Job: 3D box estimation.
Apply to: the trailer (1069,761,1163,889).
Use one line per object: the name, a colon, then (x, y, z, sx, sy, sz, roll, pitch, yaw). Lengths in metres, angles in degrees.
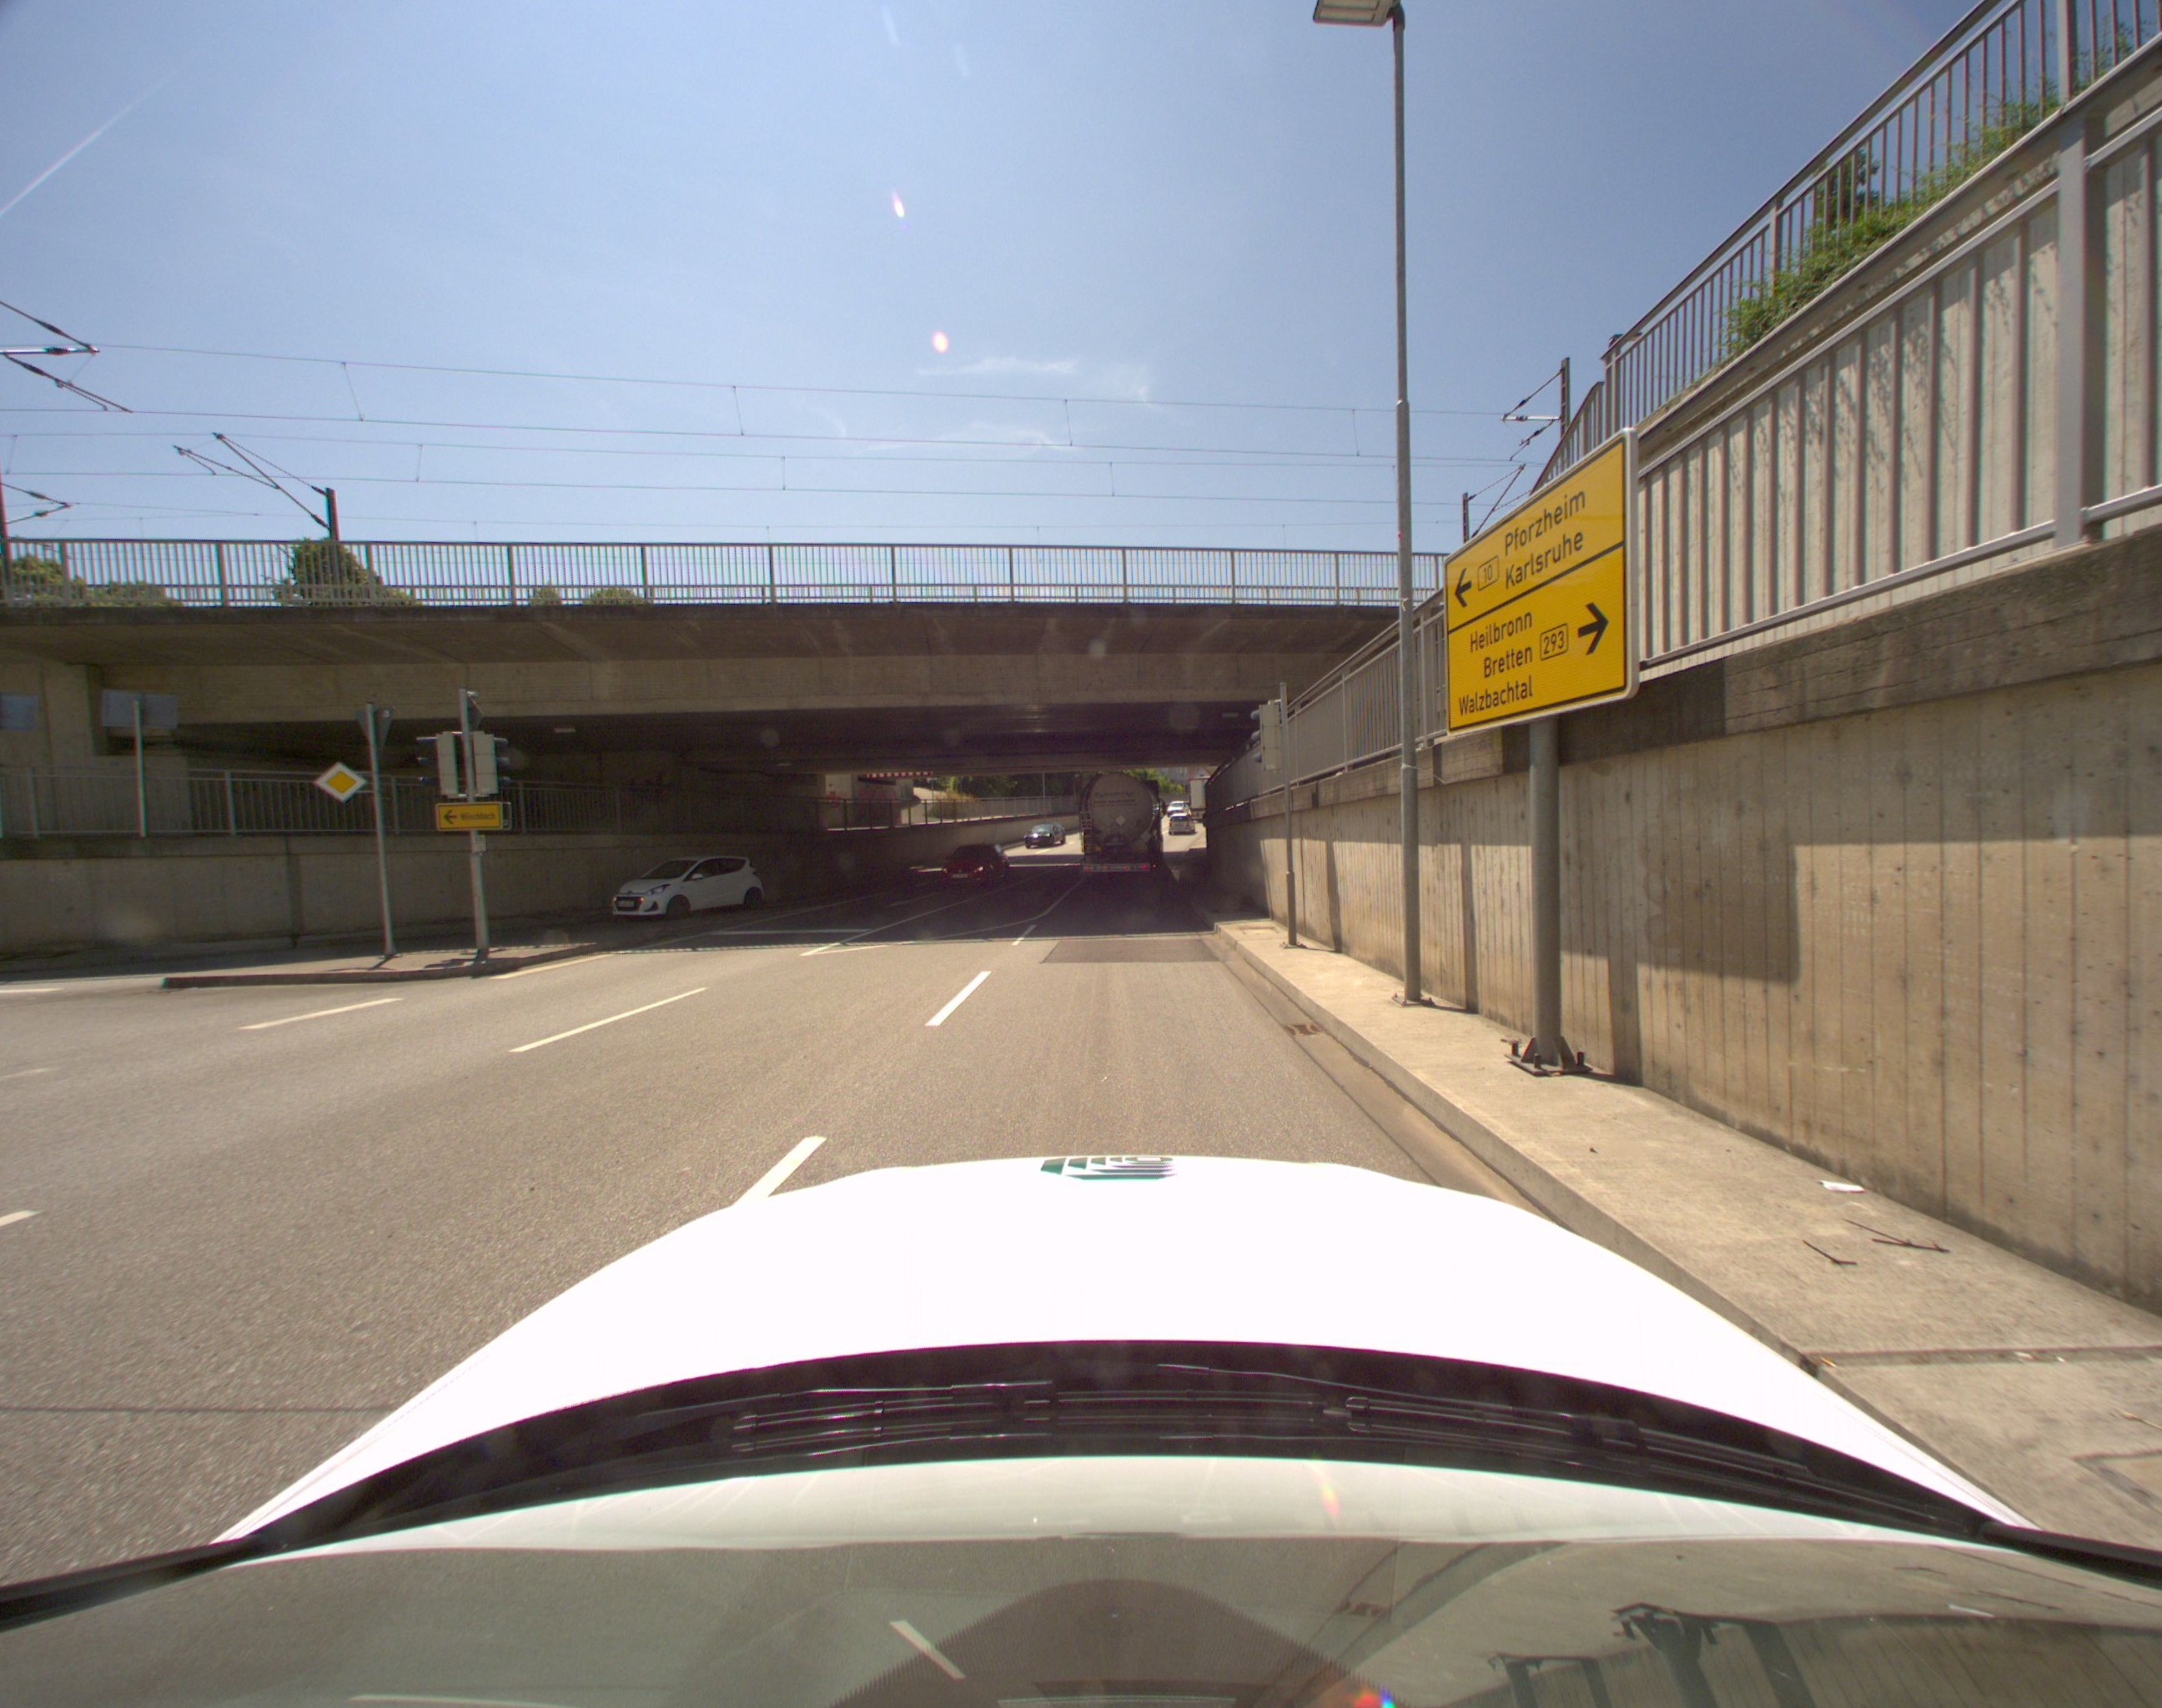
trailer: (1.802, -1.288, 32.774, 2.720, 4.063, 13.342, -1, 3, 7)

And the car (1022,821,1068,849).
car: (-2.315, -1.277, 53.196, 1.884, 1.529, 4.017, -3, 4, 14)

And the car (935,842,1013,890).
car: (-3.642, 0.359, 28.455, 1.733, 1.464, 3.834, -1, 2, 7)

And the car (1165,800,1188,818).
car: (10.056, -4.751, 85.629, 1.779, 1.683, 4.019, 1, 6, 15)

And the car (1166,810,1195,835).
car: (7.540, -2.397, 61.338, 1.870, 1.638, 4.014, -1, 5, 10)

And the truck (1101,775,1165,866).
truck: (2.677, -1.691, 39.973, 2.721, 4.063, 6.544, -1, 3, 7)

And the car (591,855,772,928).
car: (-9.868, 0.875, 20.482, 1.765, 1.466, 3.852, -3, 1, 20)

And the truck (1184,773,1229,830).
truck: (12.012, -5.019, 77.118, 3.058, 4.998, 10.127, 0, 4, 15)
